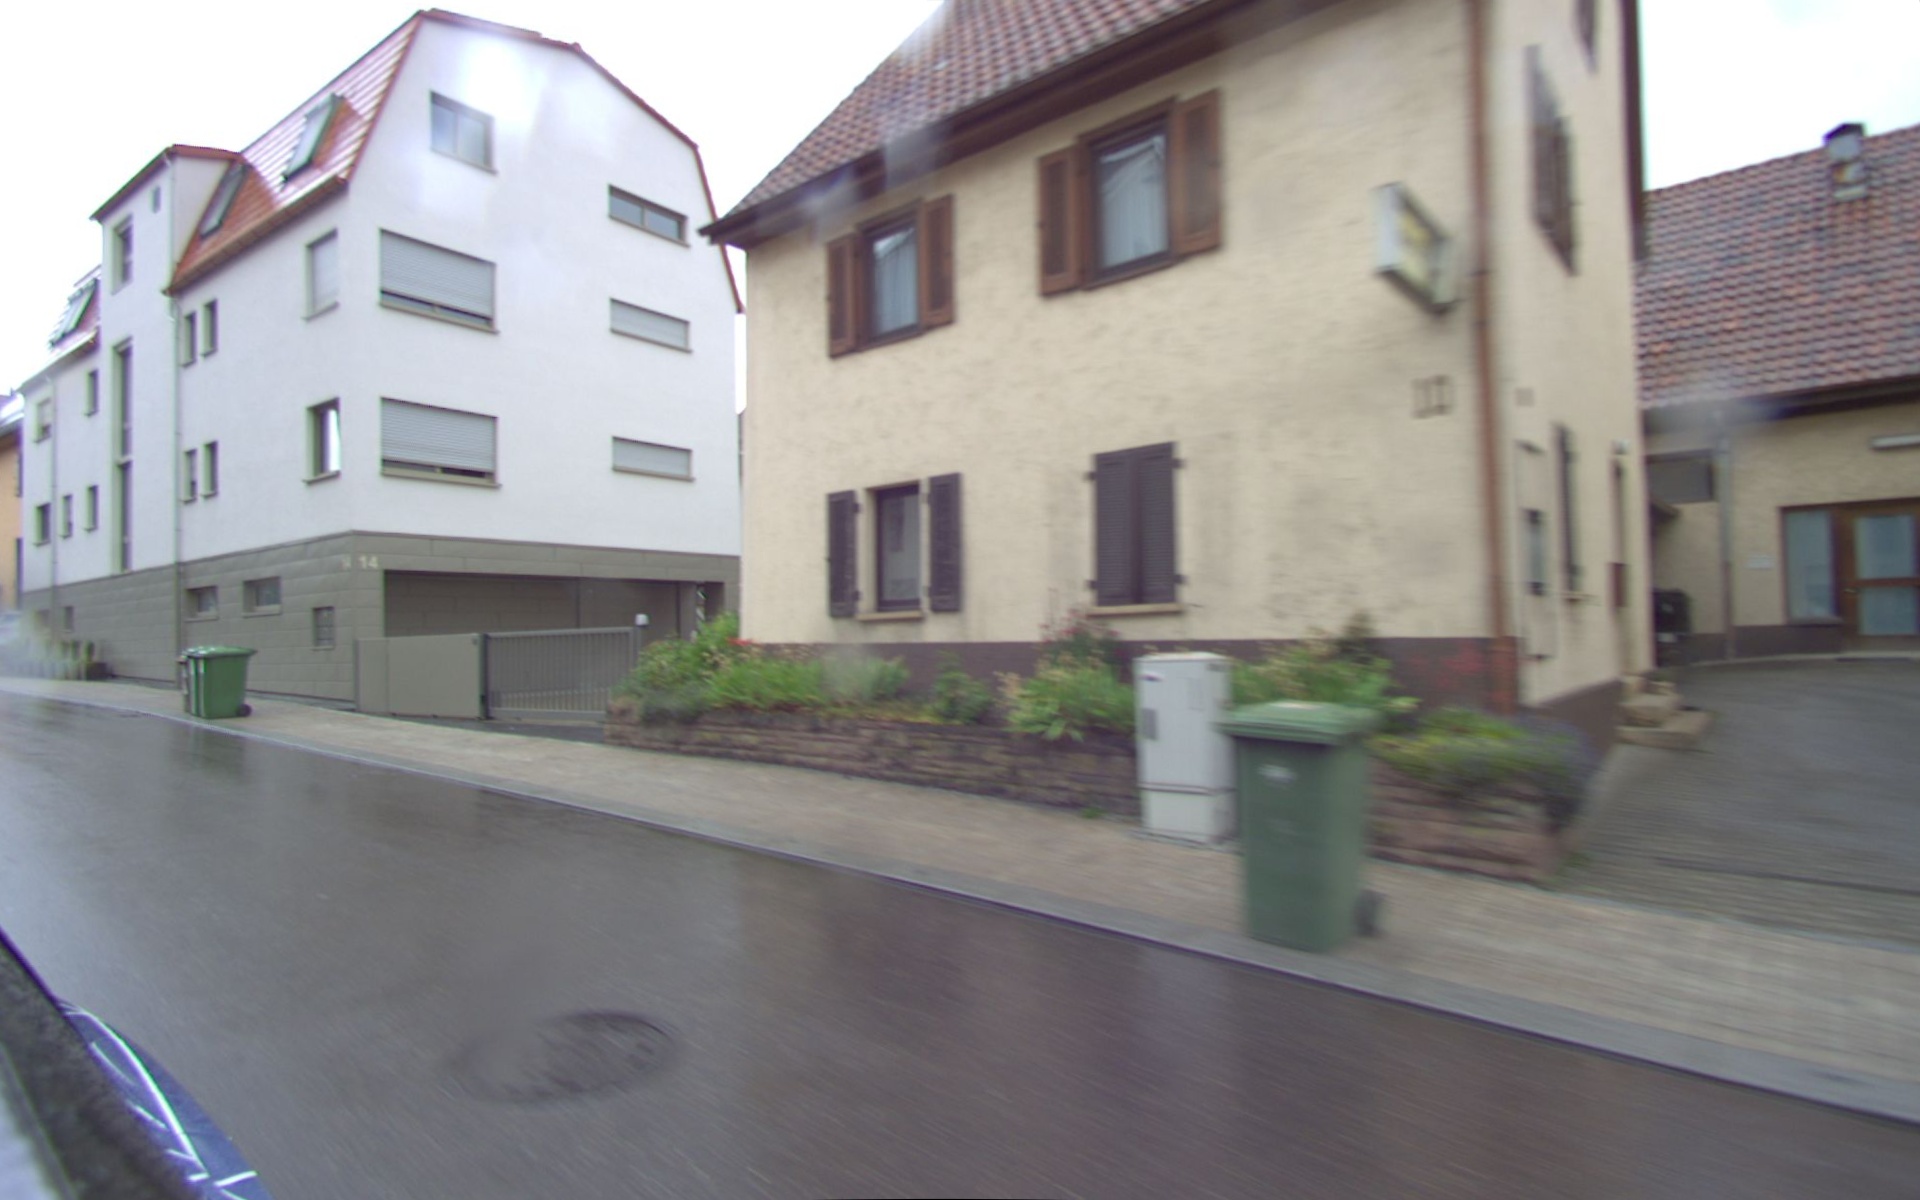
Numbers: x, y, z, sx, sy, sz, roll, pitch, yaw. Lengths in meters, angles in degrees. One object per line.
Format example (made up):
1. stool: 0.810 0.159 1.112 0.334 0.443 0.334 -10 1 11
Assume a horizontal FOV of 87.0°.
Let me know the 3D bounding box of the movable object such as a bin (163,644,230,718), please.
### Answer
1. movable object such as a bin: -11.896 1.248 15.771 0.694 1.074 0.675 -1 -1 38

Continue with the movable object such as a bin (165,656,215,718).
1. movable object such as a bin: -12.367 1.385 16.251 0.578 0.929 0.501 -1 -1 36

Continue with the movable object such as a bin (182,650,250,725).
1. movable object such as a bin: -11.249 1.306 15.301 0.660 1.053 0.675 -1 -1 38

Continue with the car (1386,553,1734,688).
1. car: 8.679 0.266 15.011 1.842 1.699 4.012 -2 0 -30

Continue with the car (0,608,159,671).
1. car: -27.501 1.170 31.222 1.871 1.682 3.959 -1 1 31

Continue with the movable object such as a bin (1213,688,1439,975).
1. movable object such as a bin: 1.651 0.974 4.566 0.763 1.064 0.653 -2 0 40
